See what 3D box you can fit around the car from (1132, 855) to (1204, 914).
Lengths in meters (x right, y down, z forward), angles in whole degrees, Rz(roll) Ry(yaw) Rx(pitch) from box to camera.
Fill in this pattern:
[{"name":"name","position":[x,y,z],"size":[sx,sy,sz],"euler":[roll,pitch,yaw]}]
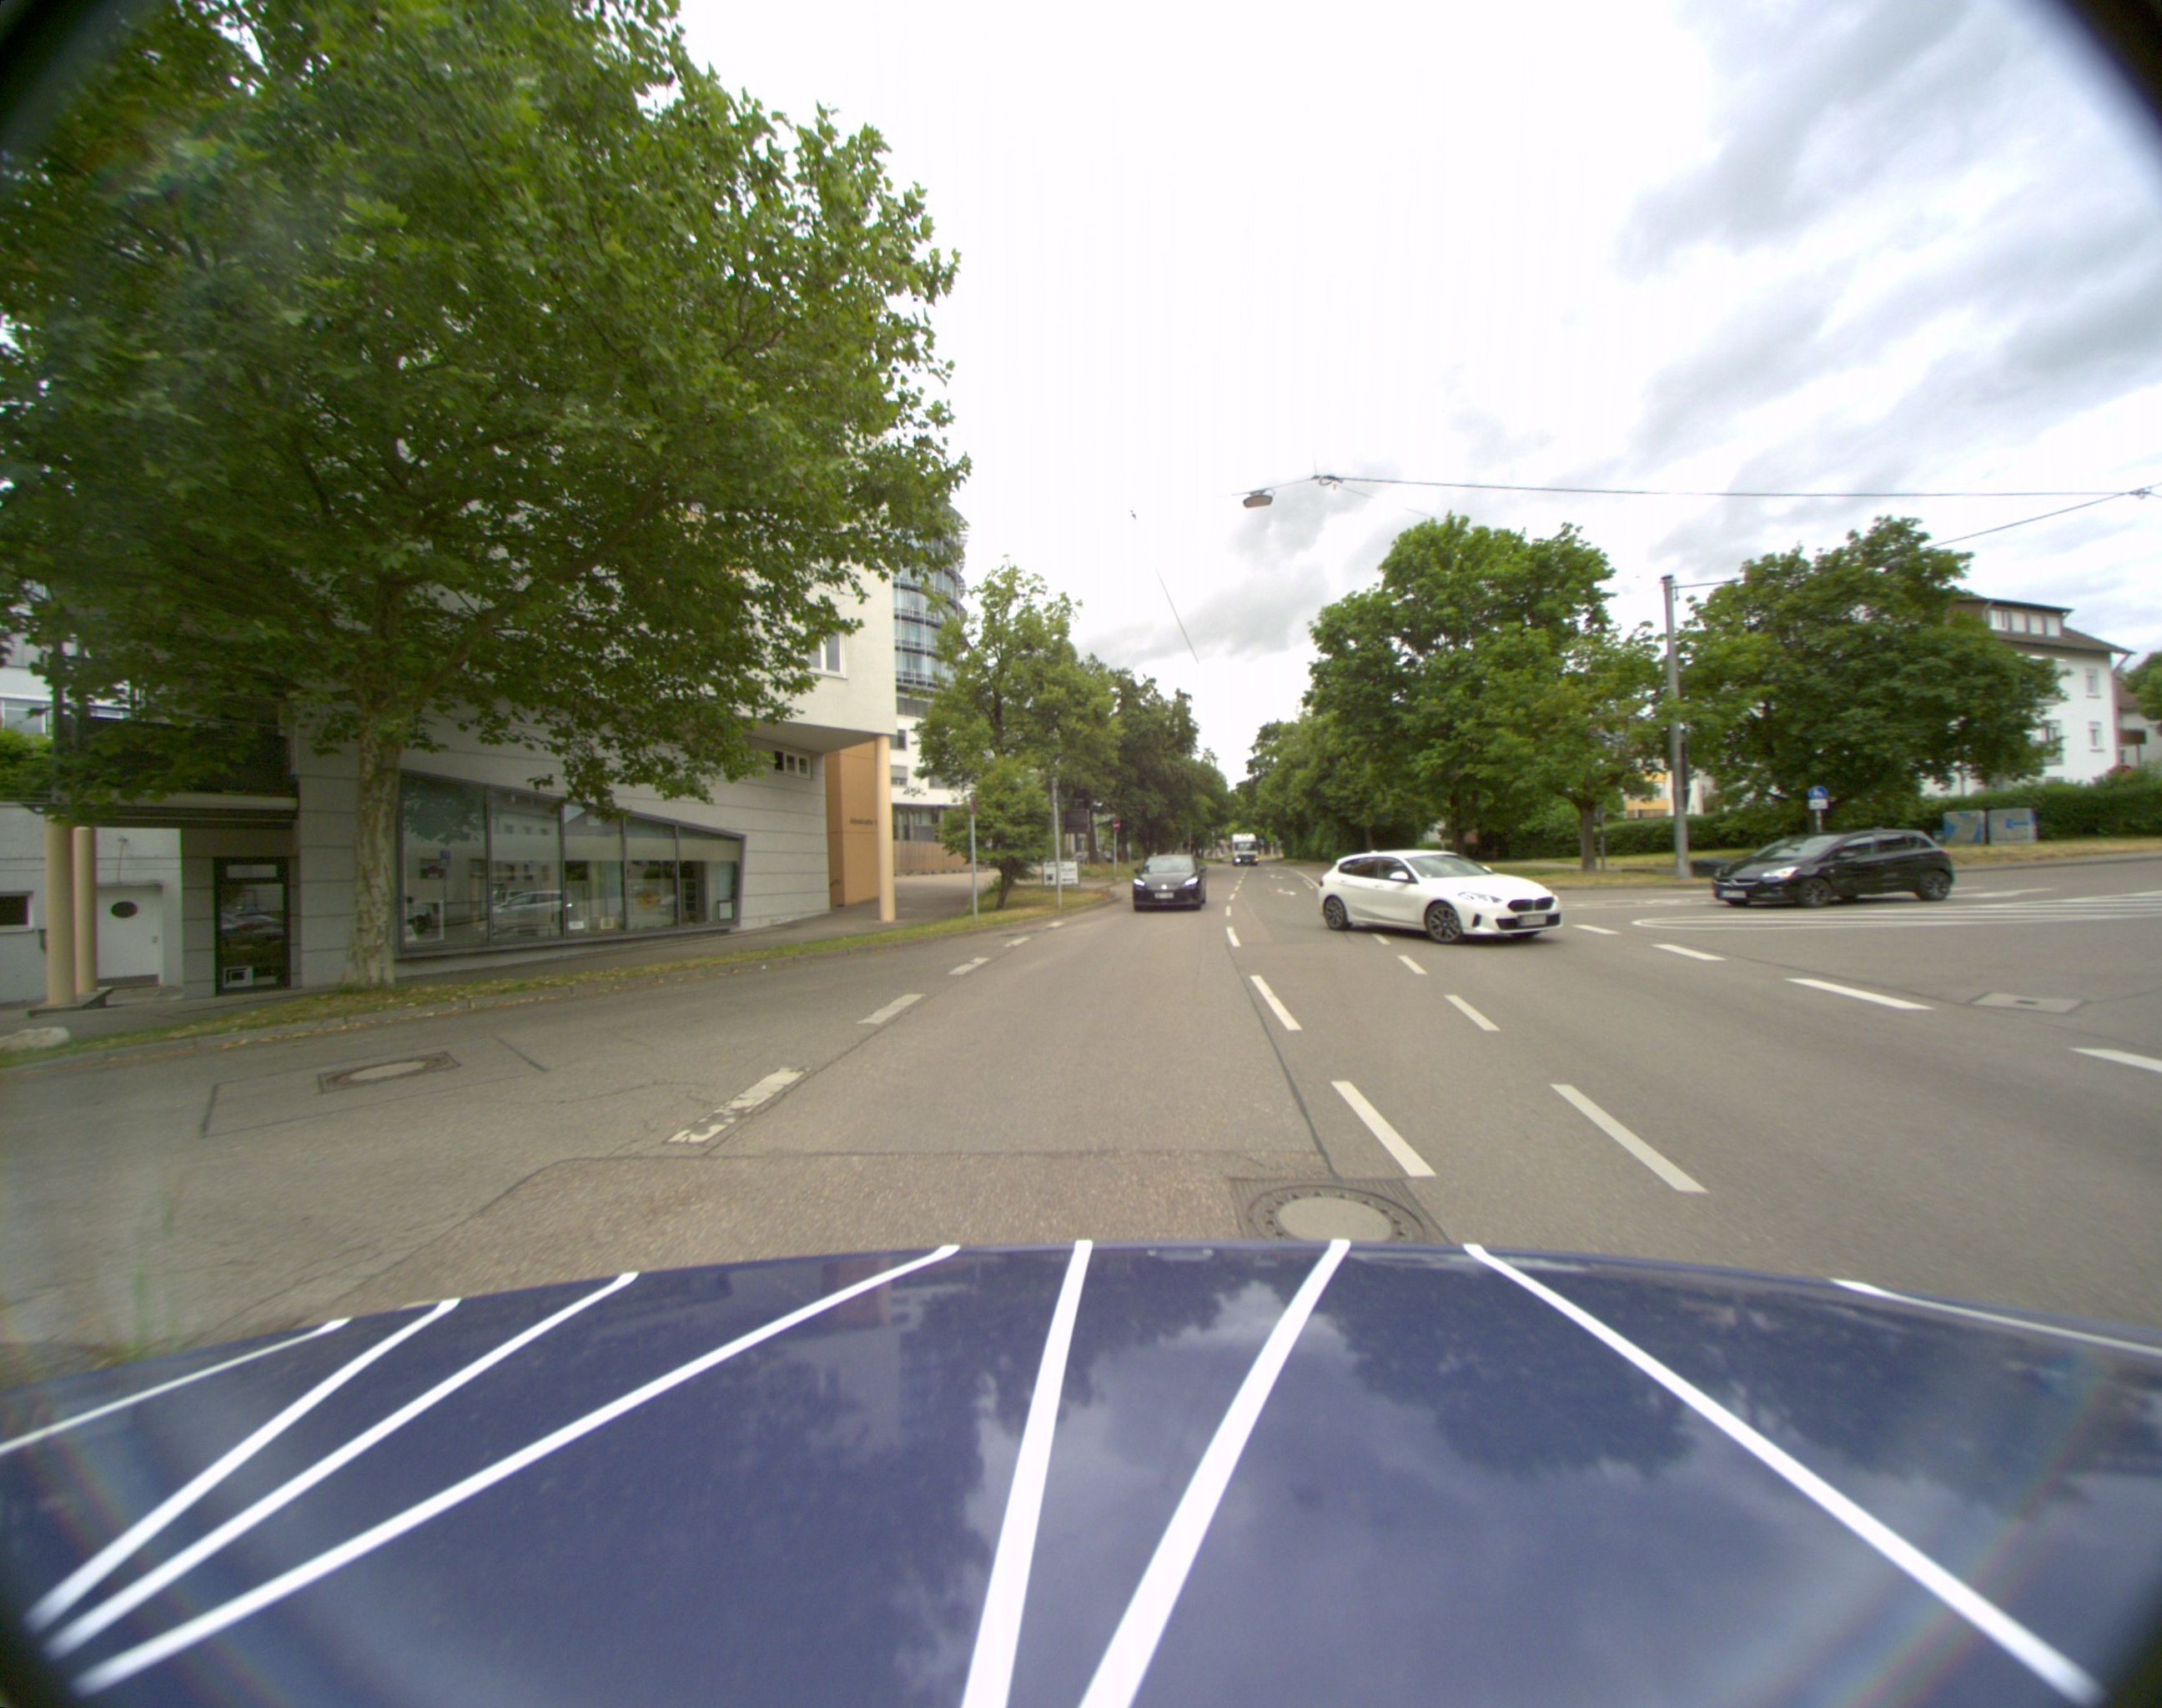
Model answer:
[{"name":"car","position":[2.488,0.787,21.474],"size":[1.799,1.475,4.021],"euler":[-1,1,7]}]

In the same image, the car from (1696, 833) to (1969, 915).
[{"name":"car","position":[14.979,0.388,15.261],"size":[3.998,1.328,1.644],"euler":[-3,0,-5]}]

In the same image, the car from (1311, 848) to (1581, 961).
[{"name":"car","position":[5.890,0.723,12.919],"size":[1.802,1.508,4.202],"euler":[-3,0,-15]}]

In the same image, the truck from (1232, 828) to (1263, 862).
[{"name":"truck","position":[16.556,-0.906,75.905],"size":[2.434,3.176,6.470],"euler":[-2,0,8]}]
